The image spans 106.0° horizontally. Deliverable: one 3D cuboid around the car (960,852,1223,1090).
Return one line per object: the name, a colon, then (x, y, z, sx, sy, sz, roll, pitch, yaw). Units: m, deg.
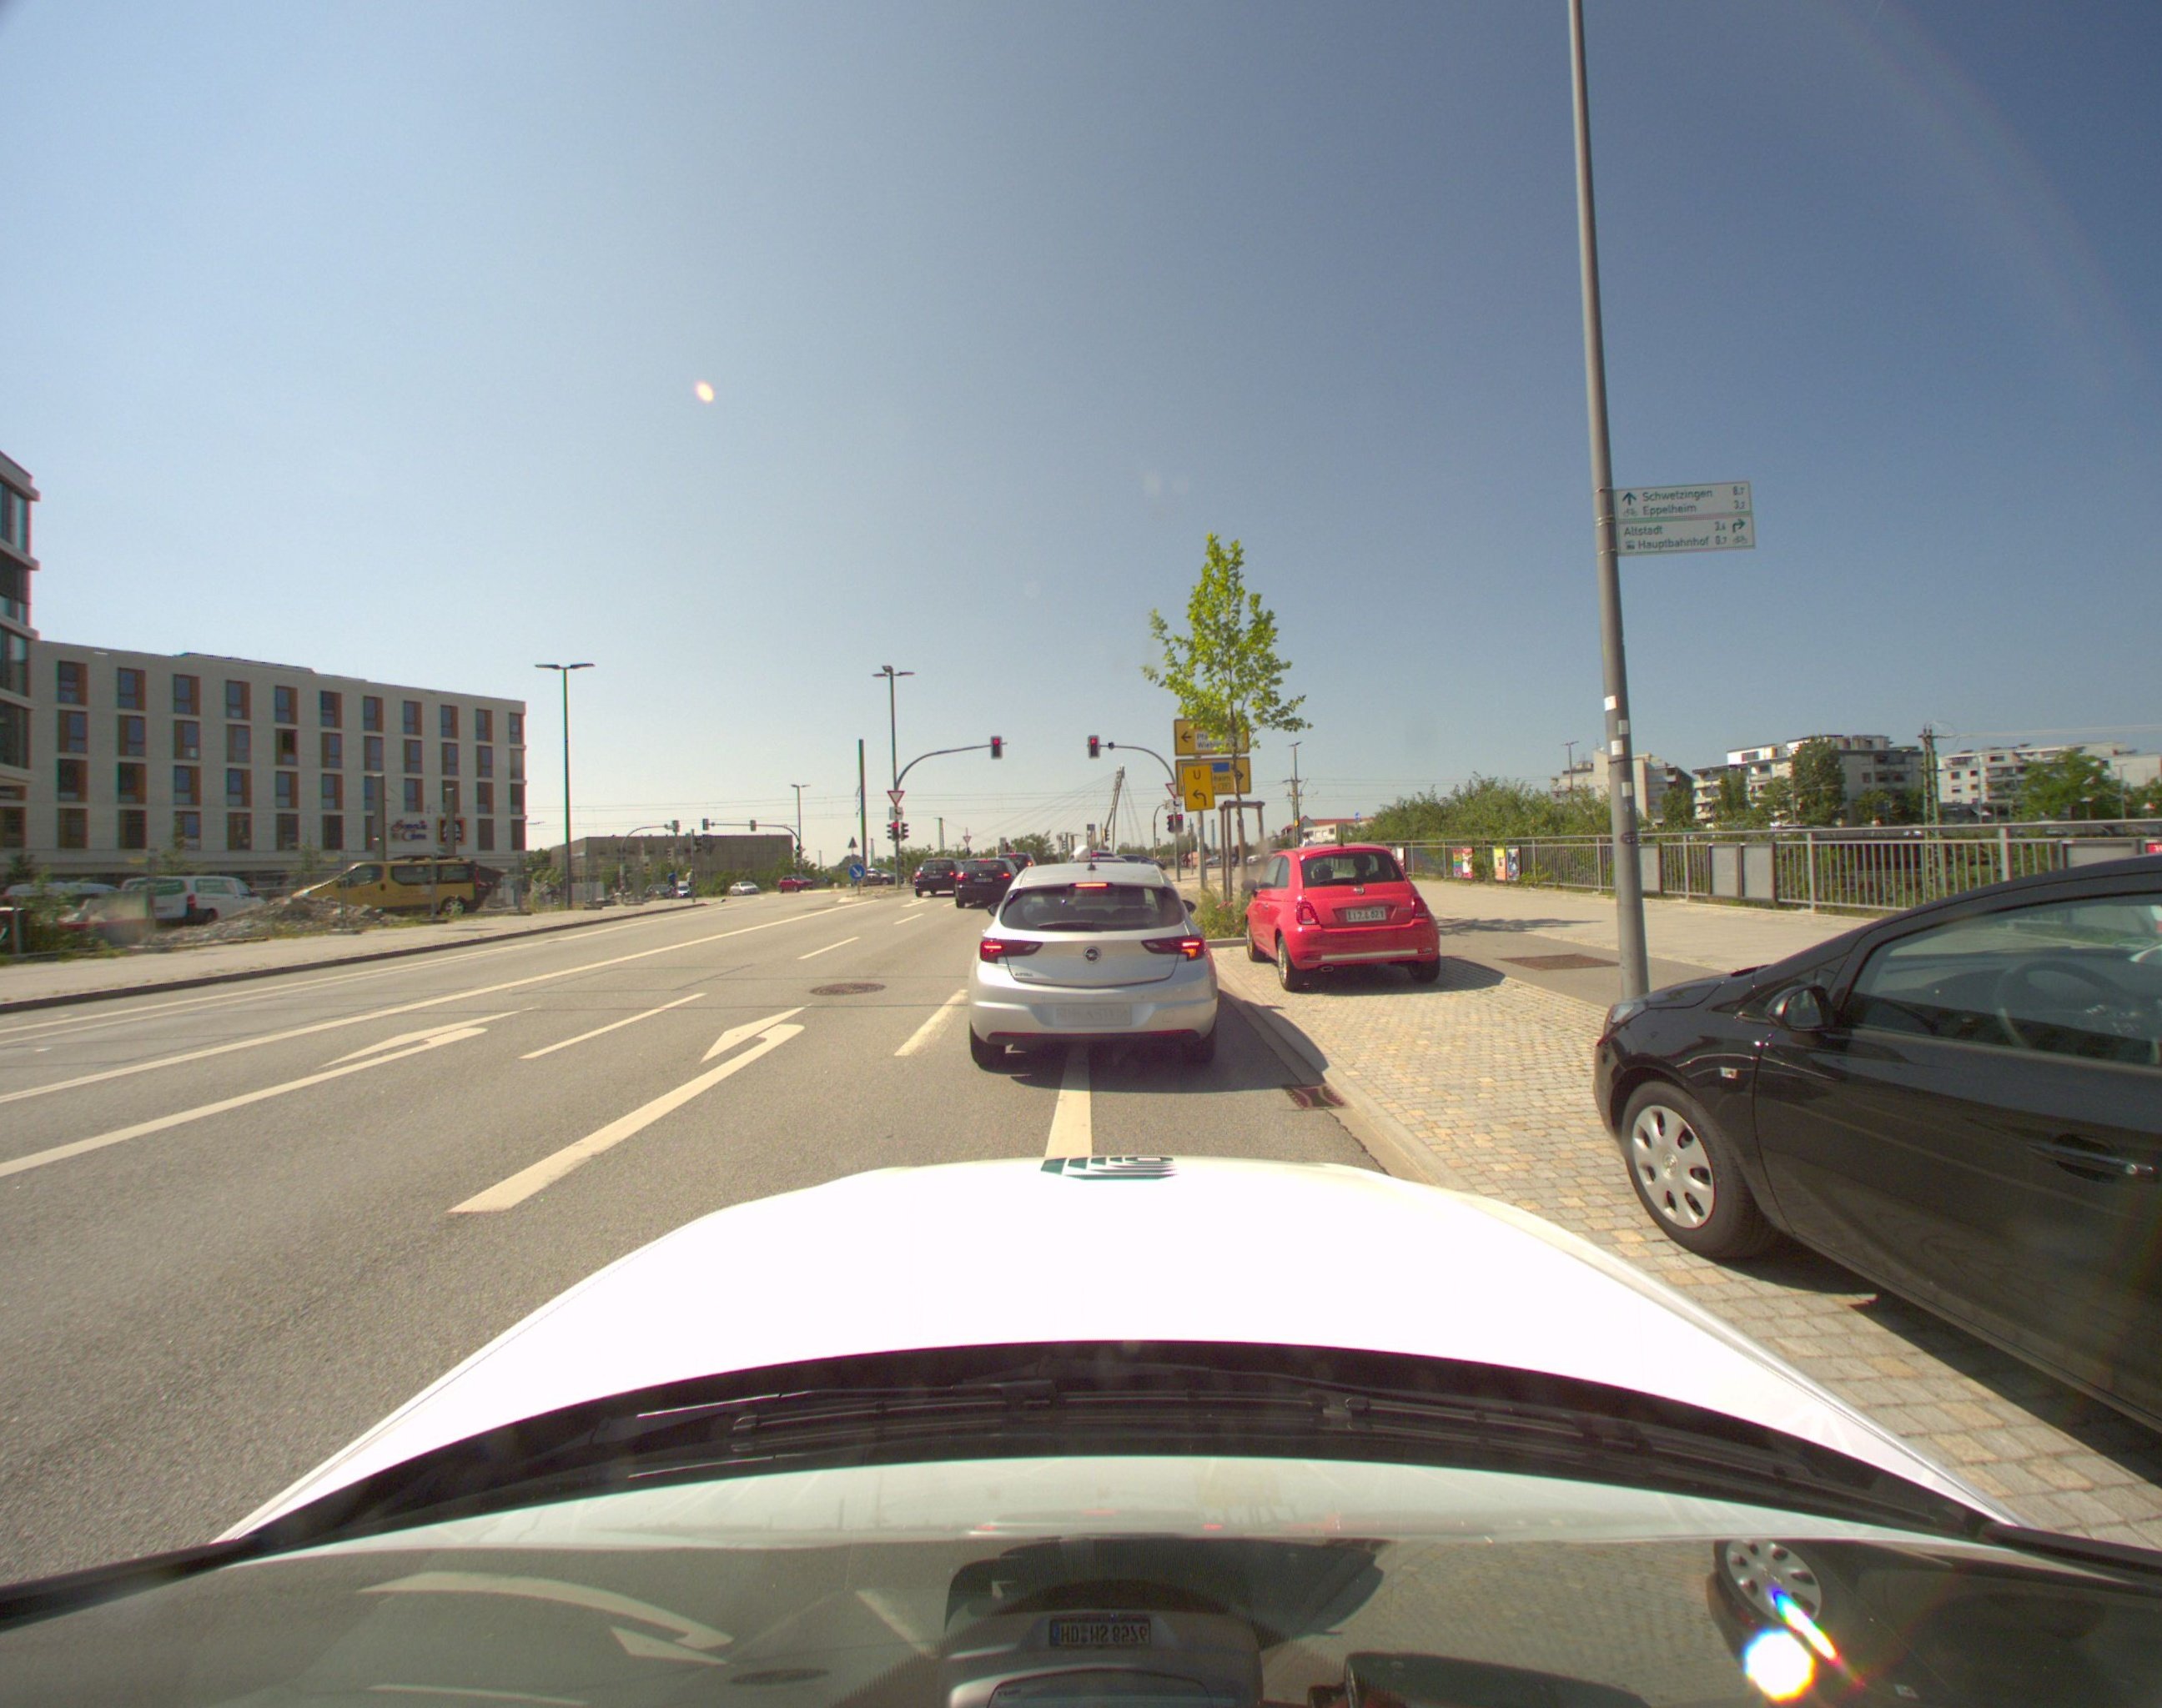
car: (0.116, 0.775, 7.433, 1.685, 1.520, 4.271, -1, 0, 1)

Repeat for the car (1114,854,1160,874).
car: (4.074, 0.760, 59.423, 3.137, 1.439, 1.584, 0, -1, -4)

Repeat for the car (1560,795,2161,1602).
car: (2.862, 0.640, 1.721, 1.576, 1.555, 3.548, -4, 0, 1)

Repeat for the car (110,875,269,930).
car: (-31.086, 1.618, 28.617, 2.003, 1.707, 4.526, 0, -1, -23)

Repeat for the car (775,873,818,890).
car: (-25.309, 2.450, 72.381, 3.948, 1.455, 1.695, -1, -1, 37)

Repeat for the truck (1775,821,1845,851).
truck: (72.619, -1.722, 81.143, 5.858, 2.883, 2.109, 0, -1, -12)

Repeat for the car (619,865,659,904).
car: (-24.060, 1.640, 44.285, 1.681, 2.014, 3.959, 1, -1, -32)

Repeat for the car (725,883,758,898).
car: (-33.512, 3.557, 80.253, 1.782, 1.333, 3.669, 1, -1, -44)

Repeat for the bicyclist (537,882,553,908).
bicyclist: (-32.443, 2.484, 49.305, 0.660, 1.502, 0.836, 0, -1, -27)

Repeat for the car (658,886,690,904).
car: (-47.284, 4.740, 94.548, 3.948, 2.014, 1.619, -1, -1, 35)

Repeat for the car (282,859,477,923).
car: (-22.671, 1.142, 26.483, 1.974, 1.890, 4.514, -1, -1, 40)

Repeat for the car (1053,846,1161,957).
car: (0.436, 0.751, 14.257, 1.629, 1.674, 3.745, 0, -1, 1)

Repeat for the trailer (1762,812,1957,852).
trailer: (68.073, -1.790, 71.201, 17.225, 3.204, 3.723, 0, -1, -14)

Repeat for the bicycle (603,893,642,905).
bicycle: (-28.541, 2.802, 50.662, 2.233, 0.692, 0.517, -1, -1, 8)

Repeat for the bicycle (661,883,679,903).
bicycle: (-25.142, 2.372, 49.763, 0.731, 1.134, 2.506, 2, -3, -32)

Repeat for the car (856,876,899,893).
car: (-20.783, 3.054, 82.999, 4.155, 1.645, 1.845, -1, -1, 30)

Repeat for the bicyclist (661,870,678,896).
bicyclist: (-25.133, 1.744, 49.724, 0.866, 1.560, 0.816, 1, -1, -32)

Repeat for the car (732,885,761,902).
car: (-41.912, 4.909, 102.104, 2.012, 2.014, 3.950, -1, -1, -44)

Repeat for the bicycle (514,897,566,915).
bicycle: (-32.641, 3.146, 49.182, 2.517, 1.007, 0.600, 1, -6, -27)

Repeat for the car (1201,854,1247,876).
car: (13.871, 1.070, 79.091, 4.000, 2.014, 1.987, 0, -1, -20)

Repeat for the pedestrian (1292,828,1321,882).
pedestrian: (7.792, 0.034, 28.199, 0.755, 1.830, 0.885, 0, -1, 1)

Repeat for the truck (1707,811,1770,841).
truck: (60.017, -2.524, 74.365, 4.699, 2.540, 1.991, 0, -1, -14)

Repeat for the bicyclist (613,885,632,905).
bicyclist: (-28.498, 2.529, 50.580, 0.653, 1.175, 0.732, -4, -1, 7)

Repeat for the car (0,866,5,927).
car: (-36.215, 1.393, 25.022, 2.220, 2.056, 4.133, 0, -1, -28)

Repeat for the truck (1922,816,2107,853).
truck: (87.638, -1.763, 76.404, 17.857, 3.204, 3.723, 0, -1, -14)

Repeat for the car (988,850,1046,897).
car: (-2.441, 0.748, 32.013, 1.797, 1.622, 3.917, -4, -1, 1)

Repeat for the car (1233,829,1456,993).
car: (2.980, 0.570, 10.071, 1.662, 1.540, 3.921, -3, 0, 4)

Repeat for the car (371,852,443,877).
car: (-54.288, 0.828, 65.665, 3.990, 2.014, 1.991, 0, -1, -12)

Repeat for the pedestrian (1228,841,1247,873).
pedestrian: (9.276, 0.205, 48.262, 0.745, 1.863, 0.746, 1, -1, -32)

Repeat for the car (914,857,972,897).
car: (-5.222, 0.861, 31.189, 1.581, 1.395, 3.340, -1, -1, 1)

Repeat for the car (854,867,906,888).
car: (-16.567, 1.907, 67.081, 4.158, 1.741, 1.728, -1, -1, 30)

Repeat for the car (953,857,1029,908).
car: (-2.631, 0.813, 24.592, 1.699, 1.412, 4.001, 0, -1, 2)

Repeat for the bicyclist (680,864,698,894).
bicyclist: (-21.318, 1.347, 44.320, 0.825, 1.569, 0.939, 0, -1, -28)

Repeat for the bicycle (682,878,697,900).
bicycle: (-21.310, 1.870, 44.313, 0.679, 1.127, 2.344, 0, -1, -28)

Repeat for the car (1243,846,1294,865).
car: (17.704, 0.161, 76.979, 4.254, 1.673, 1.989, -1, -1, -16)

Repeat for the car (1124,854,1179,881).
car: (5.473, 1.053, 63.633, 3.981, 2.014, 1.996, -1, -1, -5)

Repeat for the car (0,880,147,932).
car: (-33.668, 1.675, 27.239, 1.809, 1.508, 3.965, 0, -1, -27)

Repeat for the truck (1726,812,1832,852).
truck: (59.045, -1.794, 68.943, 6.478, 3.204, 3.721, 0, -1, -14)
